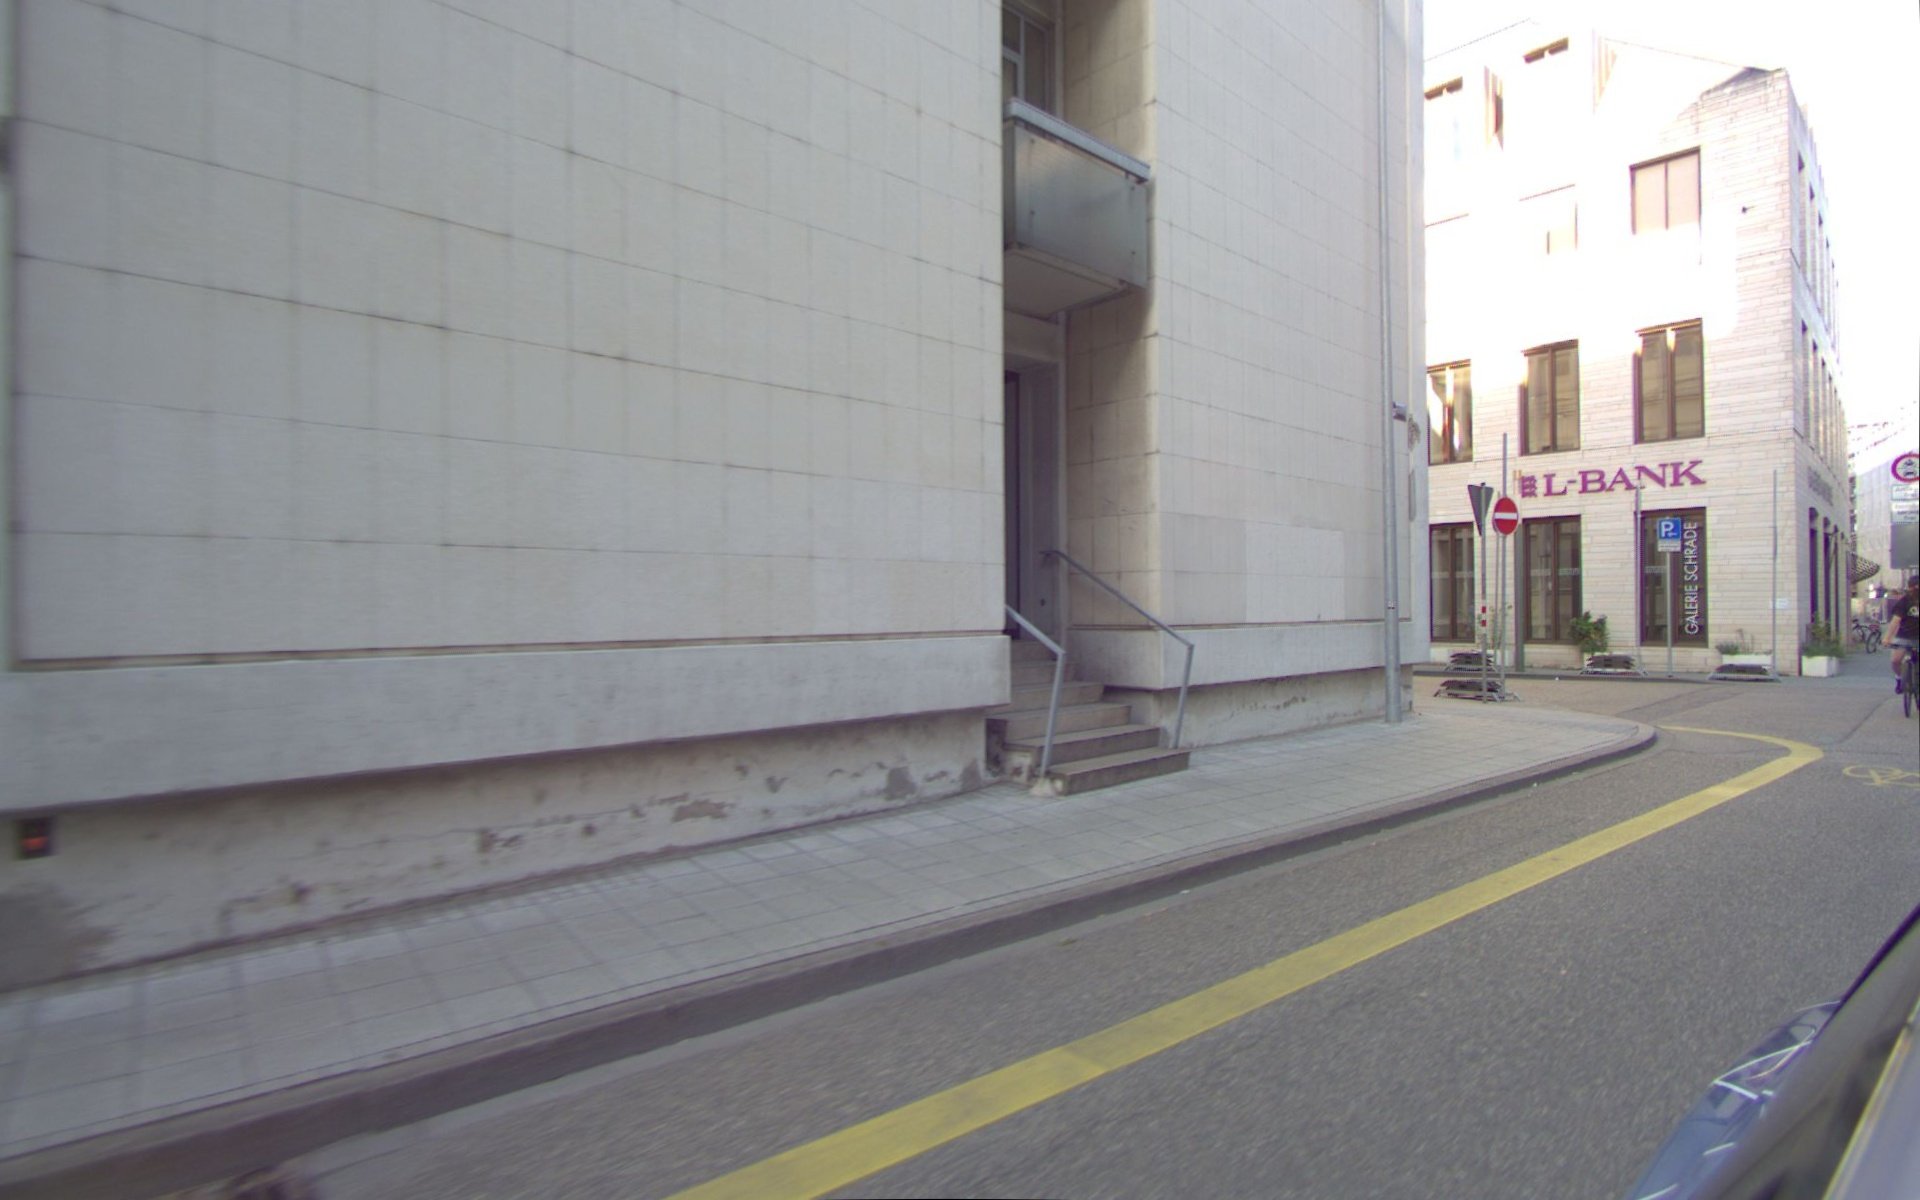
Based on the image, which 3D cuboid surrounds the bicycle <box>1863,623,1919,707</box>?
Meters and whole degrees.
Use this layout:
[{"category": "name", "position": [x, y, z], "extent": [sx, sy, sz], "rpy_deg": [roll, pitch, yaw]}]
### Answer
[{"category": "bicycle", "position": [12.522, 0.808, 13.026], "extent": [1.782, 0.986, 0.512], "rpy_deg": [-1, 1, -18]}]

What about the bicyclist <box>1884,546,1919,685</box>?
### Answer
[{"category": "bicyclist", "position": [12.309, 0.195, 12.960], "extent": [0.540, 1.753, 0.502], "rpy_deg": [-1, 1, -17]}]
